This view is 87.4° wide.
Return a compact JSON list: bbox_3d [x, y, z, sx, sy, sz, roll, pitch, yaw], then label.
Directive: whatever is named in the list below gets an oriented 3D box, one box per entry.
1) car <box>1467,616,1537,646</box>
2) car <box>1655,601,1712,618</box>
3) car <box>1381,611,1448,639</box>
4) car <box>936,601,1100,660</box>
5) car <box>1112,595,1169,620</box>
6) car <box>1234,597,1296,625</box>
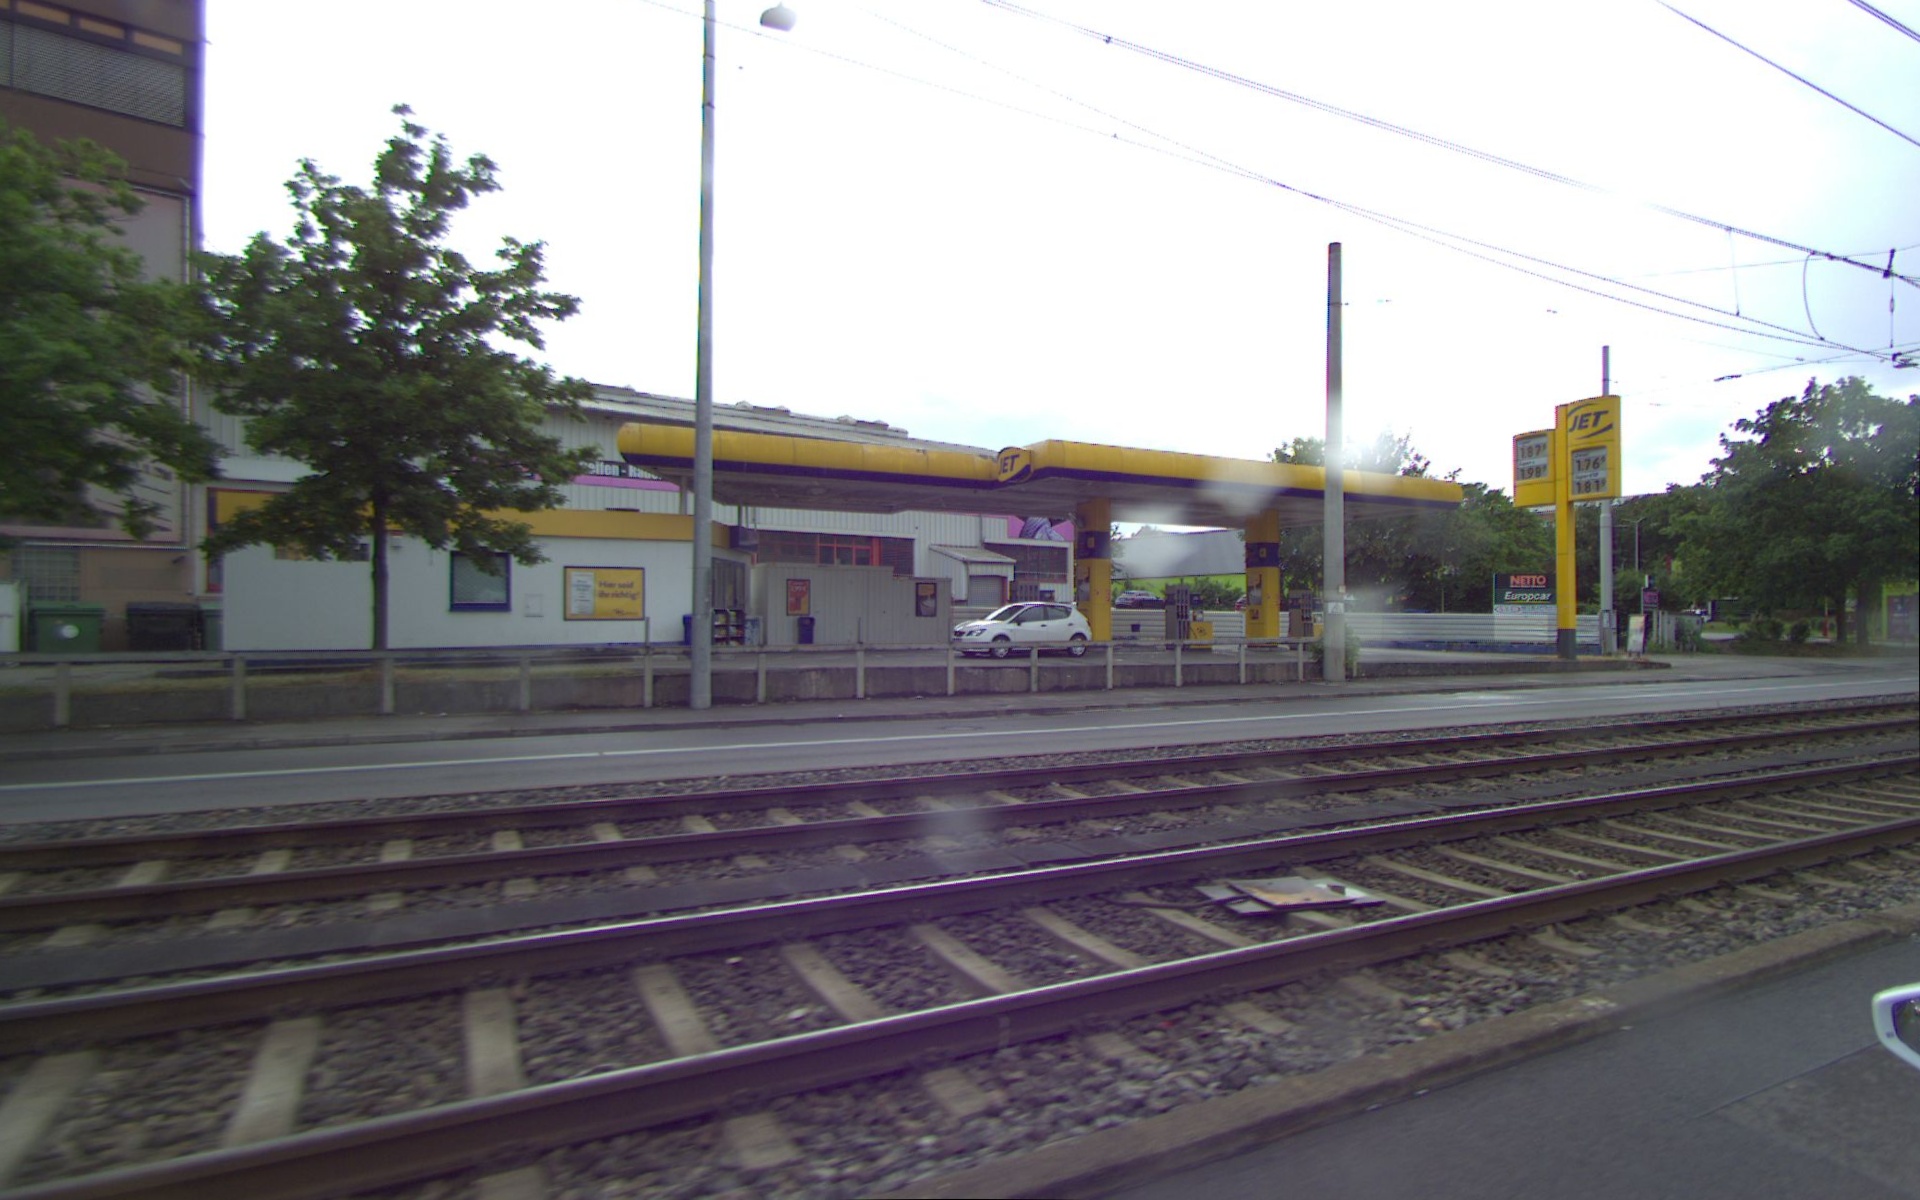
[{"bbox_3d":[28.173,1.629,52.142,3.963,1.476,1.674,2,0,-37],"label":"car"},{"bbox_3d":[69.974,0.912,97.241,1.828,1.554,4.154,1,0,-40],"label":"car"},{"bbox_3d":[25.399,1.398,56.088,3.963,1.476,1.674,2,0,-37],"label":"car"},{"bbox_3d":[1.546,0.786,26.476,4.029,1.434,1.761,1,0,-31],"label":"car"},{"bbox_3d":[12.612,0.543,70.257,3.963,1.639,1.674,2,0,-37],"label":"car"},{"bbox_3d":[19.084,0.715,62.862,3.963,1.639,1.674,2,0,-37],"label":"car"}]
